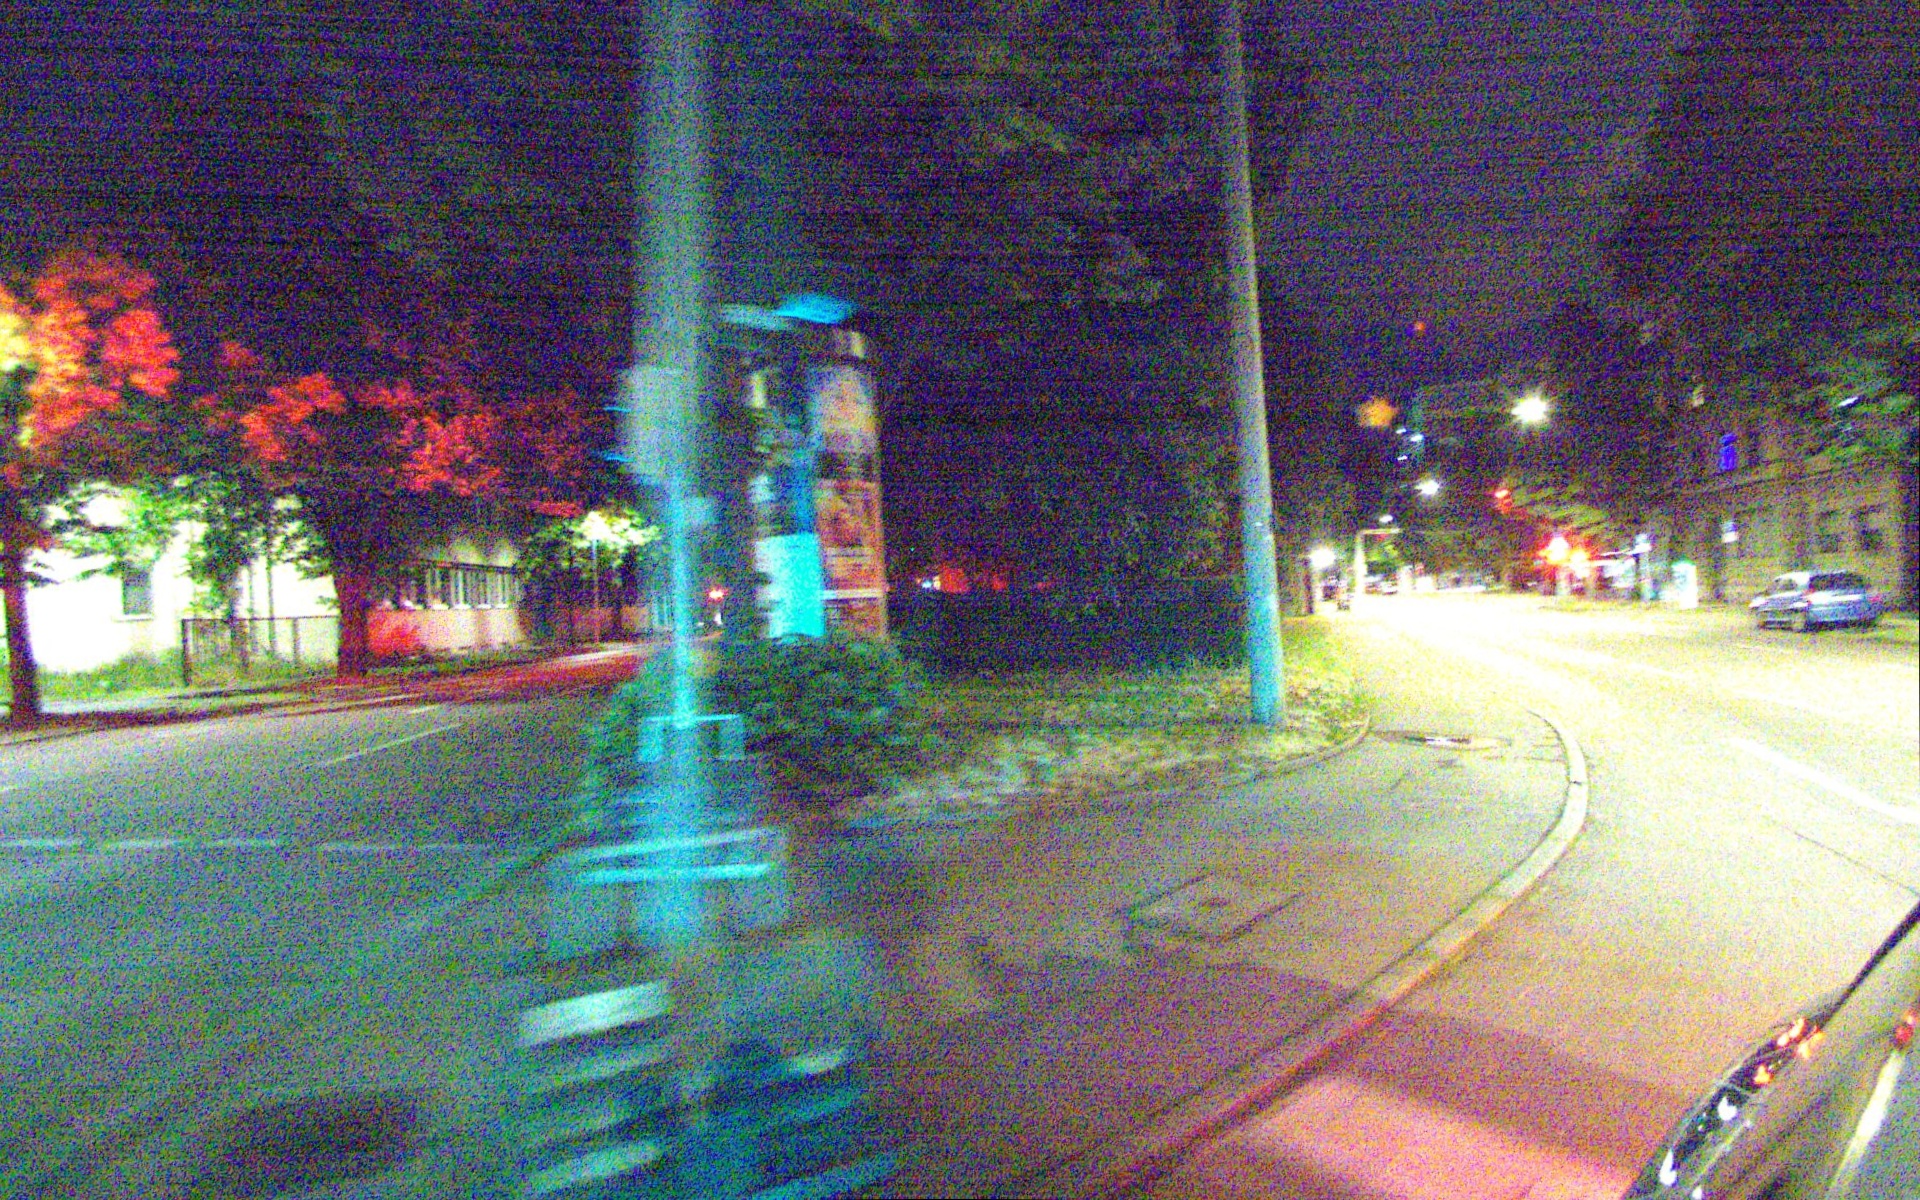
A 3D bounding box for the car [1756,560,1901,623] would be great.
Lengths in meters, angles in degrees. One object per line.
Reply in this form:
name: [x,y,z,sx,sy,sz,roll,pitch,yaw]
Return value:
car: [22.222,-0.229,26.047,1.613,1.482,3.493,-2,0,19]
